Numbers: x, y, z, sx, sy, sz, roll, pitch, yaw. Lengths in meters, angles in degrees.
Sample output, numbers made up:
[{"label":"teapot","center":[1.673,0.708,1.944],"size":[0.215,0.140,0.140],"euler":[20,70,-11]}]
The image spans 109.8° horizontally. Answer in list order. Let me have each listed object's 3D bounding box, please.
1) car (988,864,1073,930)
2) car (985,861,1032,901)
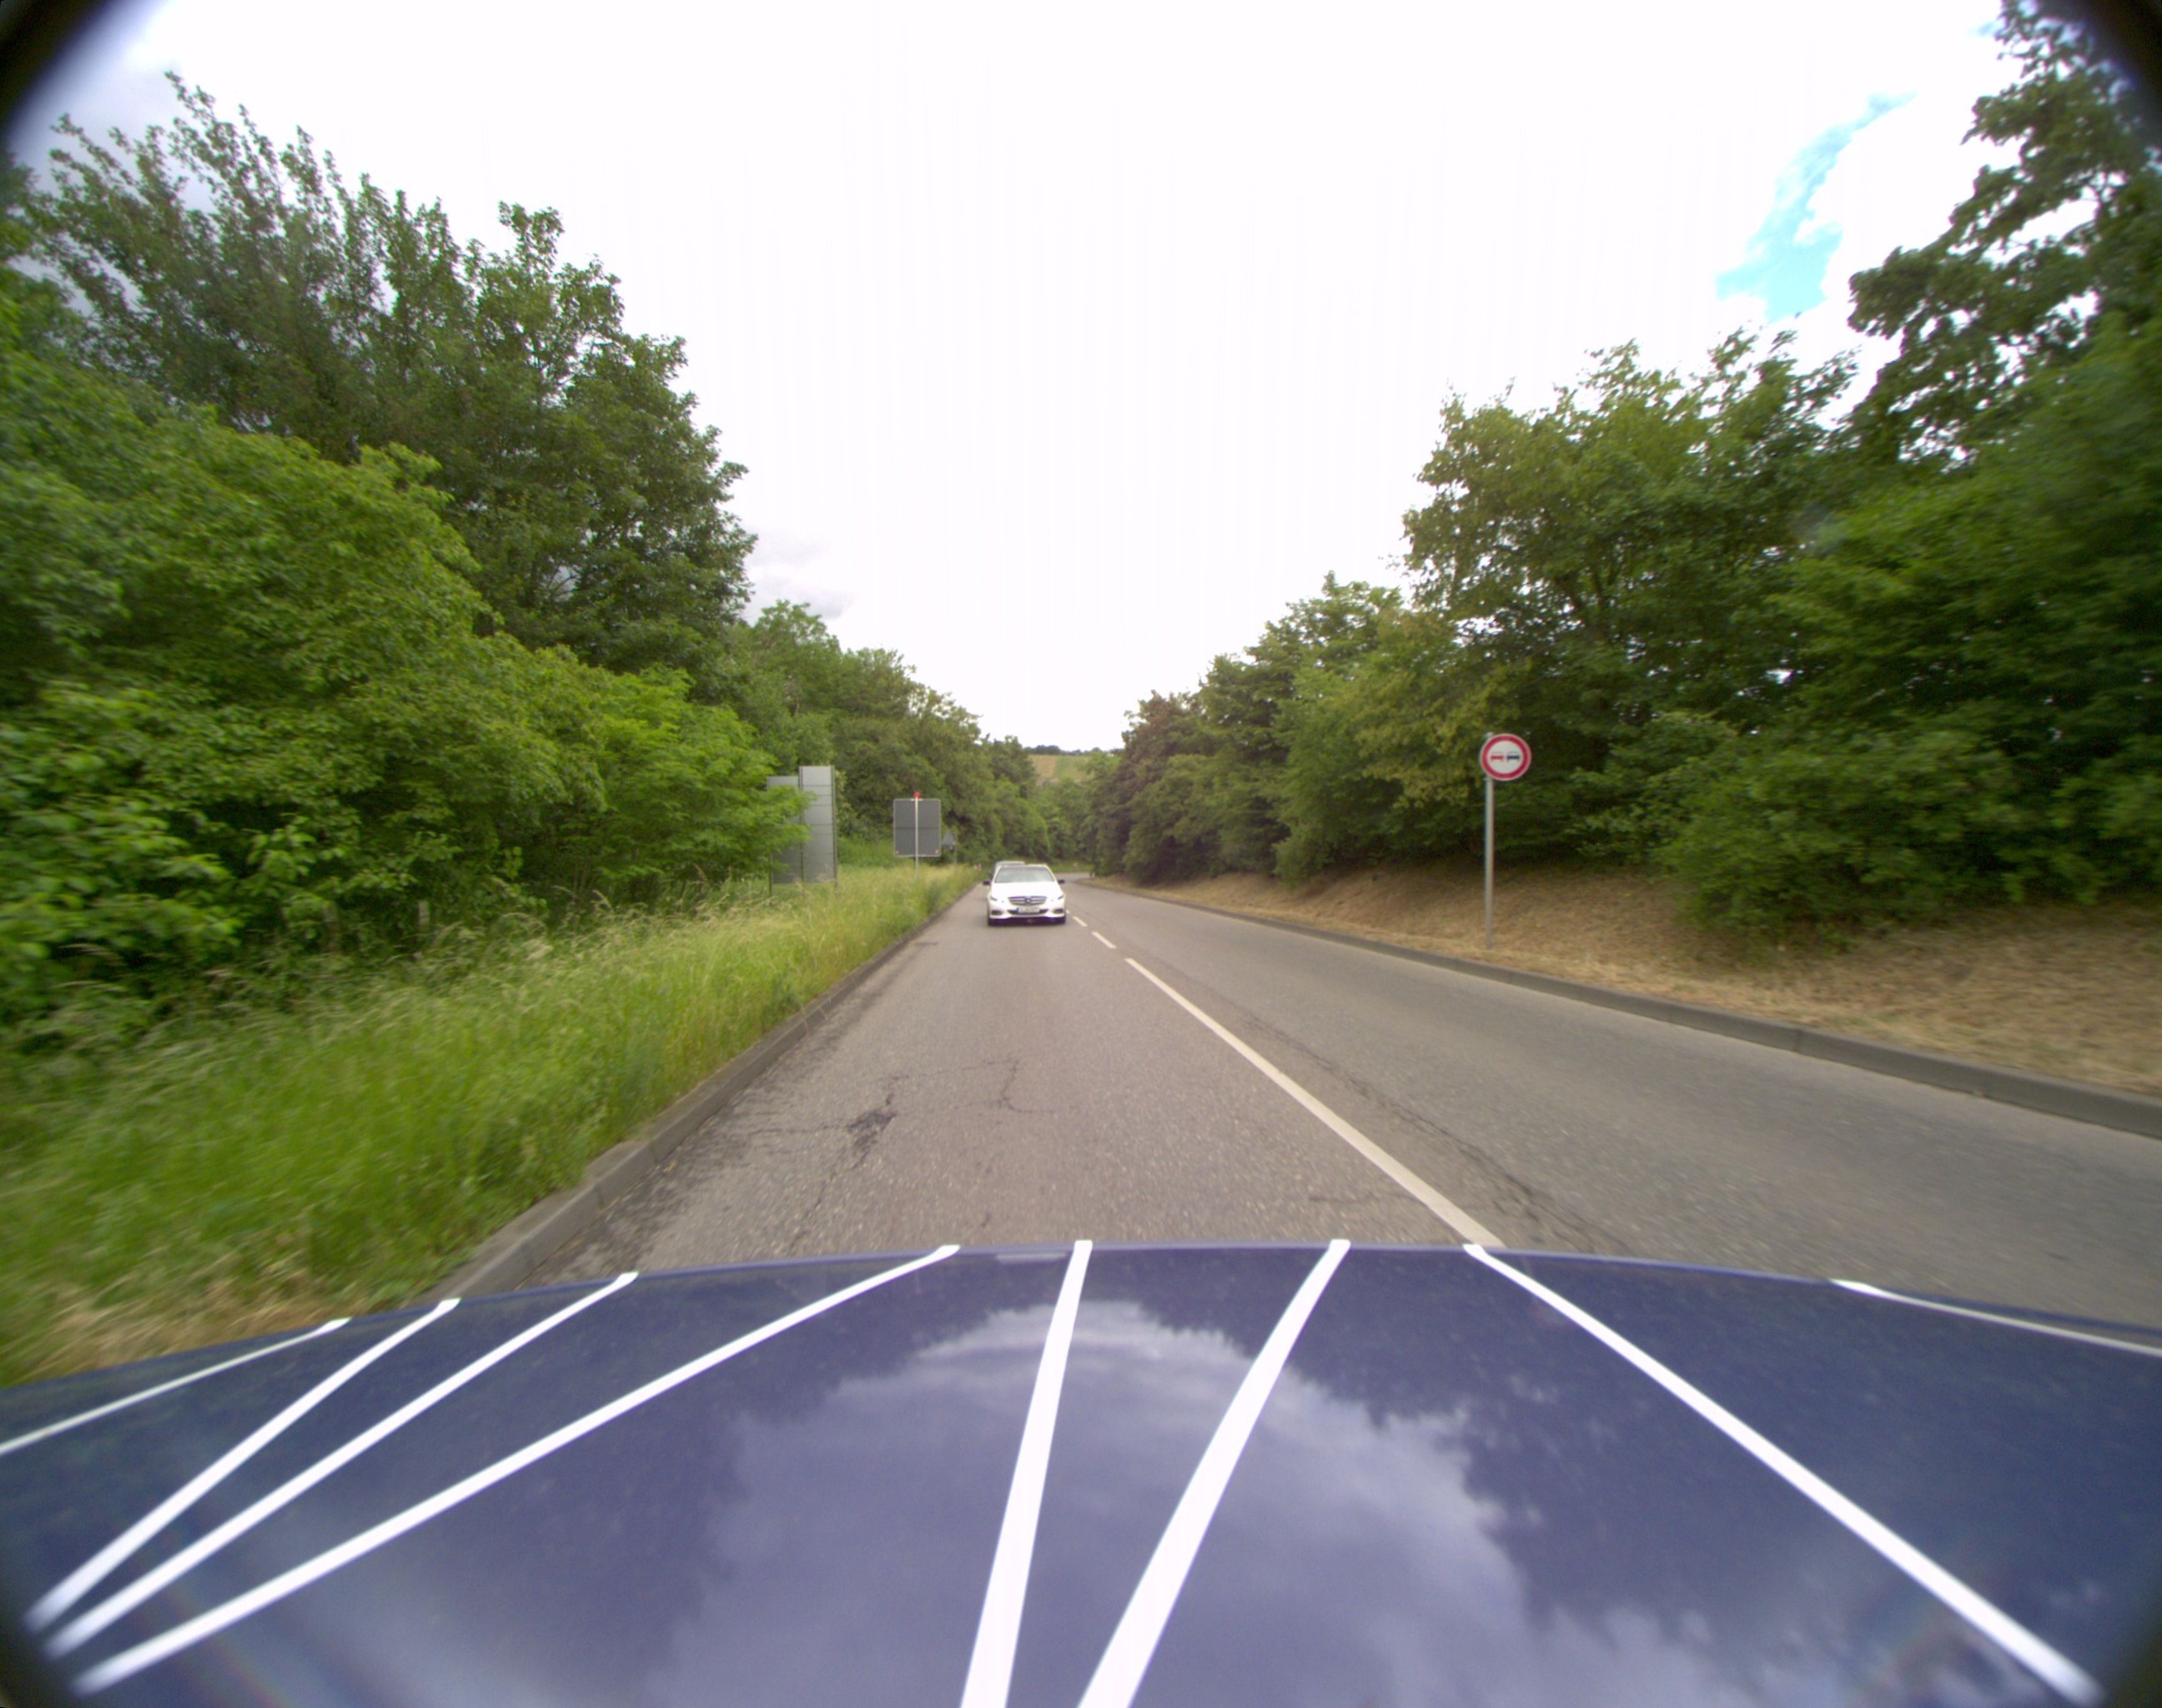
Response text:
[{"label":"car","center":[-1.388,1.008,19.453],"size":[1.888,1.414,3.997],"euler":[-1,0,-7]},{"label":"car","center":[-2.990,1.053,31.253],"size":[1.823,1.535,3.724],"euler":[1,-1,-6]}]
